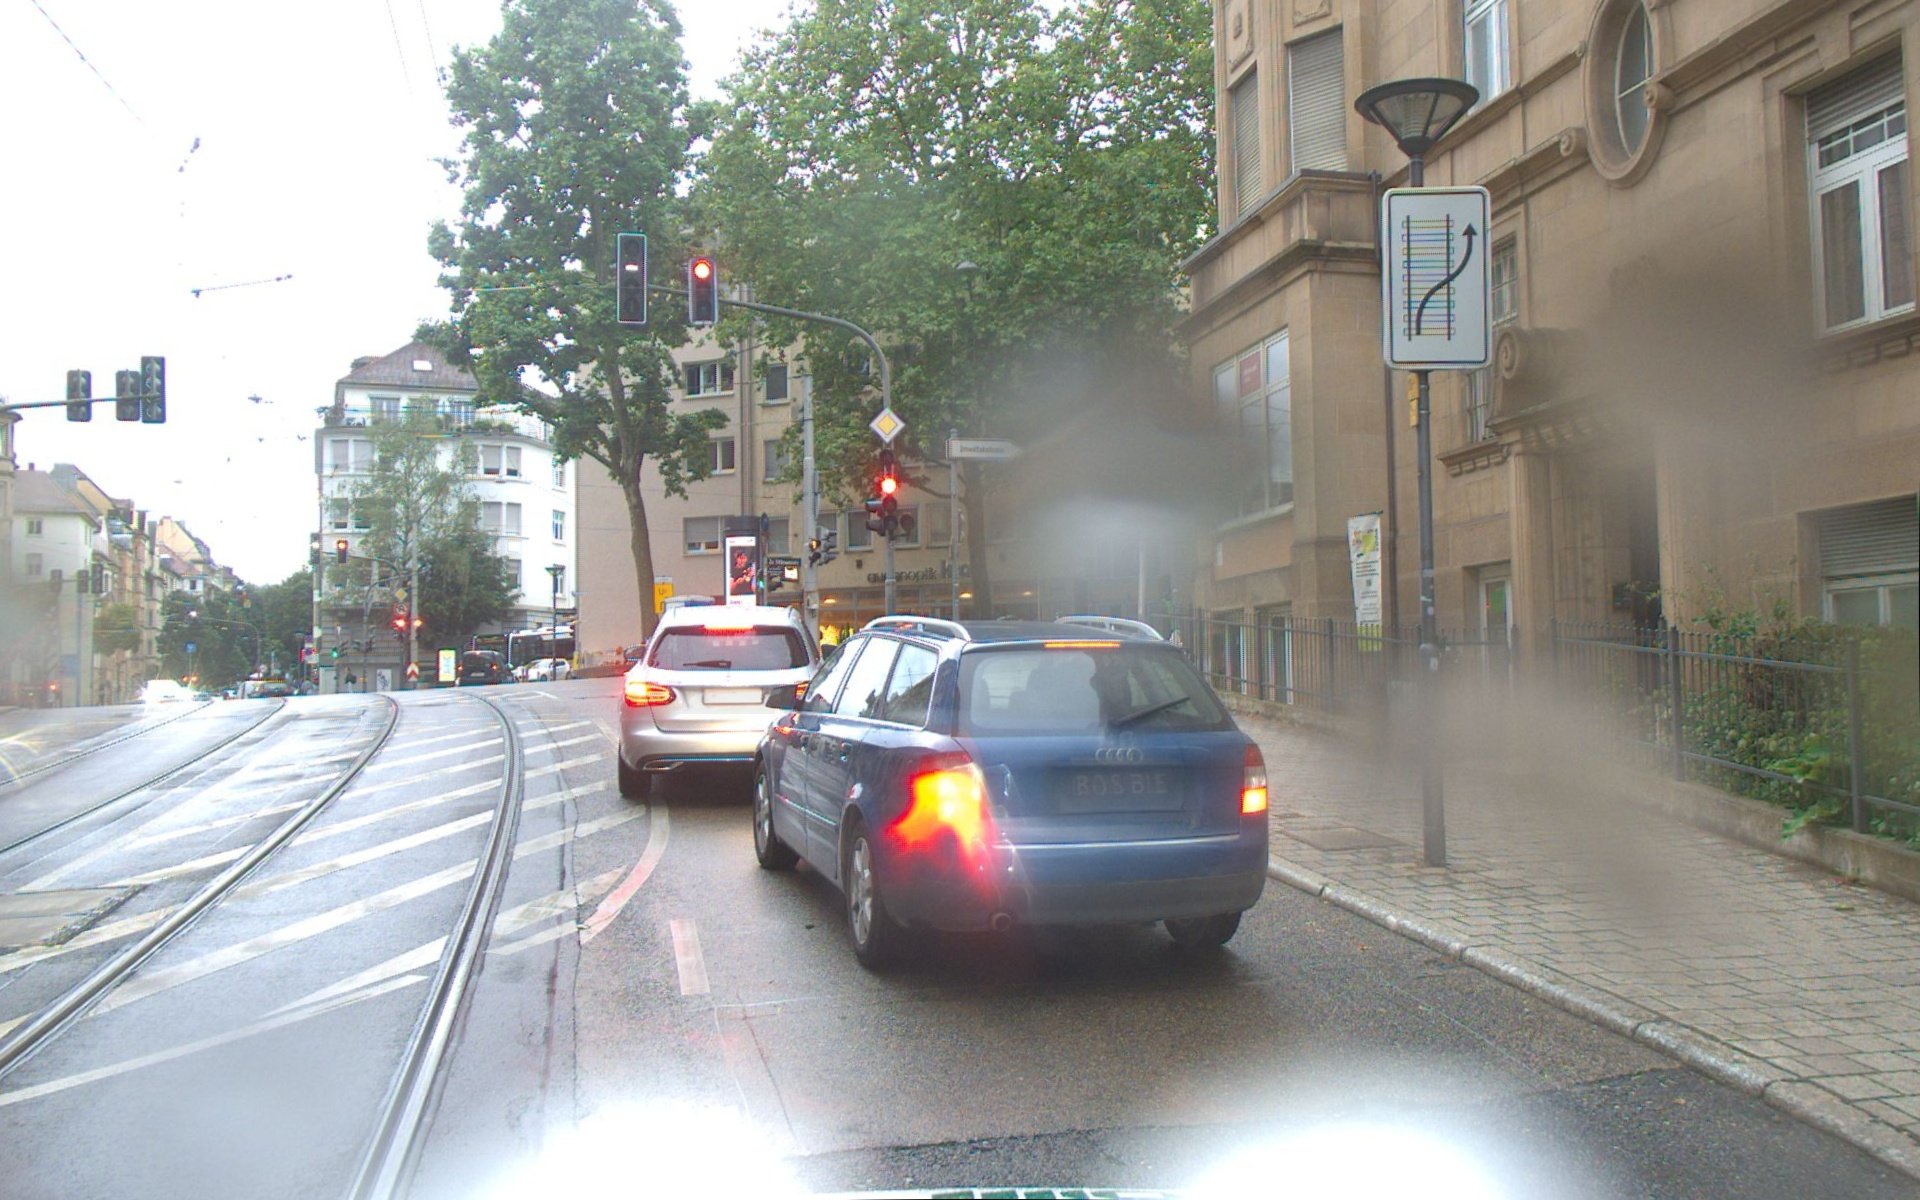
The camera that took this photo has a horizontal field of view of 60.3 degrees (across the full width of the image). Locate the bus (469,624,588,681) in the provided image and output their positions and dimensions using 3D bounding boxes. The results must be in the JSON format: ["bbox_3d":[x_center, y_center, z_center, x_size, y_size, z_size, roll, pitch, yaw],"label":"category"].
[{"bbox_3d":[-24.650,2.956,95.048,2.793,2.911,8.741,-1,0,13],"label":"bus"}]

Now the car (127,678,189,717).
[{"bbox_3d":[-37.014,4.448,76.239,1.780,1.537,4.605,-1,0,-36],"label":"car"}]

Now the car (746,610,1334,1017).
[{"bbox_3d":[0.101,0.791,8.206,1.683,1.440,4.017,0,0,-17],"label":"car"}]

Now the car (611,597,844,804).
[{"bbox_3d":[-1.931,0.726,13.844,1.678,1.481,3.546,0,0,-8],"label":"car"}]

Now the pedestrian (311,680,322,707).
[{"bbox_3d":[-41.432,6.009,106.484,0.639,1.690,0.646,0,-1,-21],"label":"pedestrian"}]

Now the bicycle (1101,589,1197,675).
[{"bbox_3d":[2.827,0.466,24.719,1.278,1.194,0.524,-3,0,-13],"label":"bicycle"}]

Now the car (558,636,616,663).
[{"bbox_3d":[-23.243,3.084,103.286,1.756,1.536,4.002,-1,0,17],"label":"car"}]

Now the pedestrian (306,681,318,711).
[{"bbox_3d":[-37.816,5.599,96.465,0.639,1.690,0.646,0,-1,-21],"label":"pedestrian"}]

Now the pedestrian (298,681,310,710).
[{"bbox_3d":[-39.224,5.708,98.869,0.639,1.690,0.646,0,-1,-21],"label":"pedestrian"}]

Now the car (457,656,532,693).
[{"bbox_3d":[-23.609,3.788,84.083,1.756,1.642,4.002,-1,0,17],"label":"car"}]

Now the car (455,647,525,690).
[{"bbox_3d":[-19.423,2.811,68.522,1.758,1.536,3.999,-3,0,-2],"label":"car"}]

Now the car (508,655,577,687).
[{"bbox_3d":[-22.419,3.799,88.956,1.756,1.536,4.002,-1,0,17],"label":"car"}]
